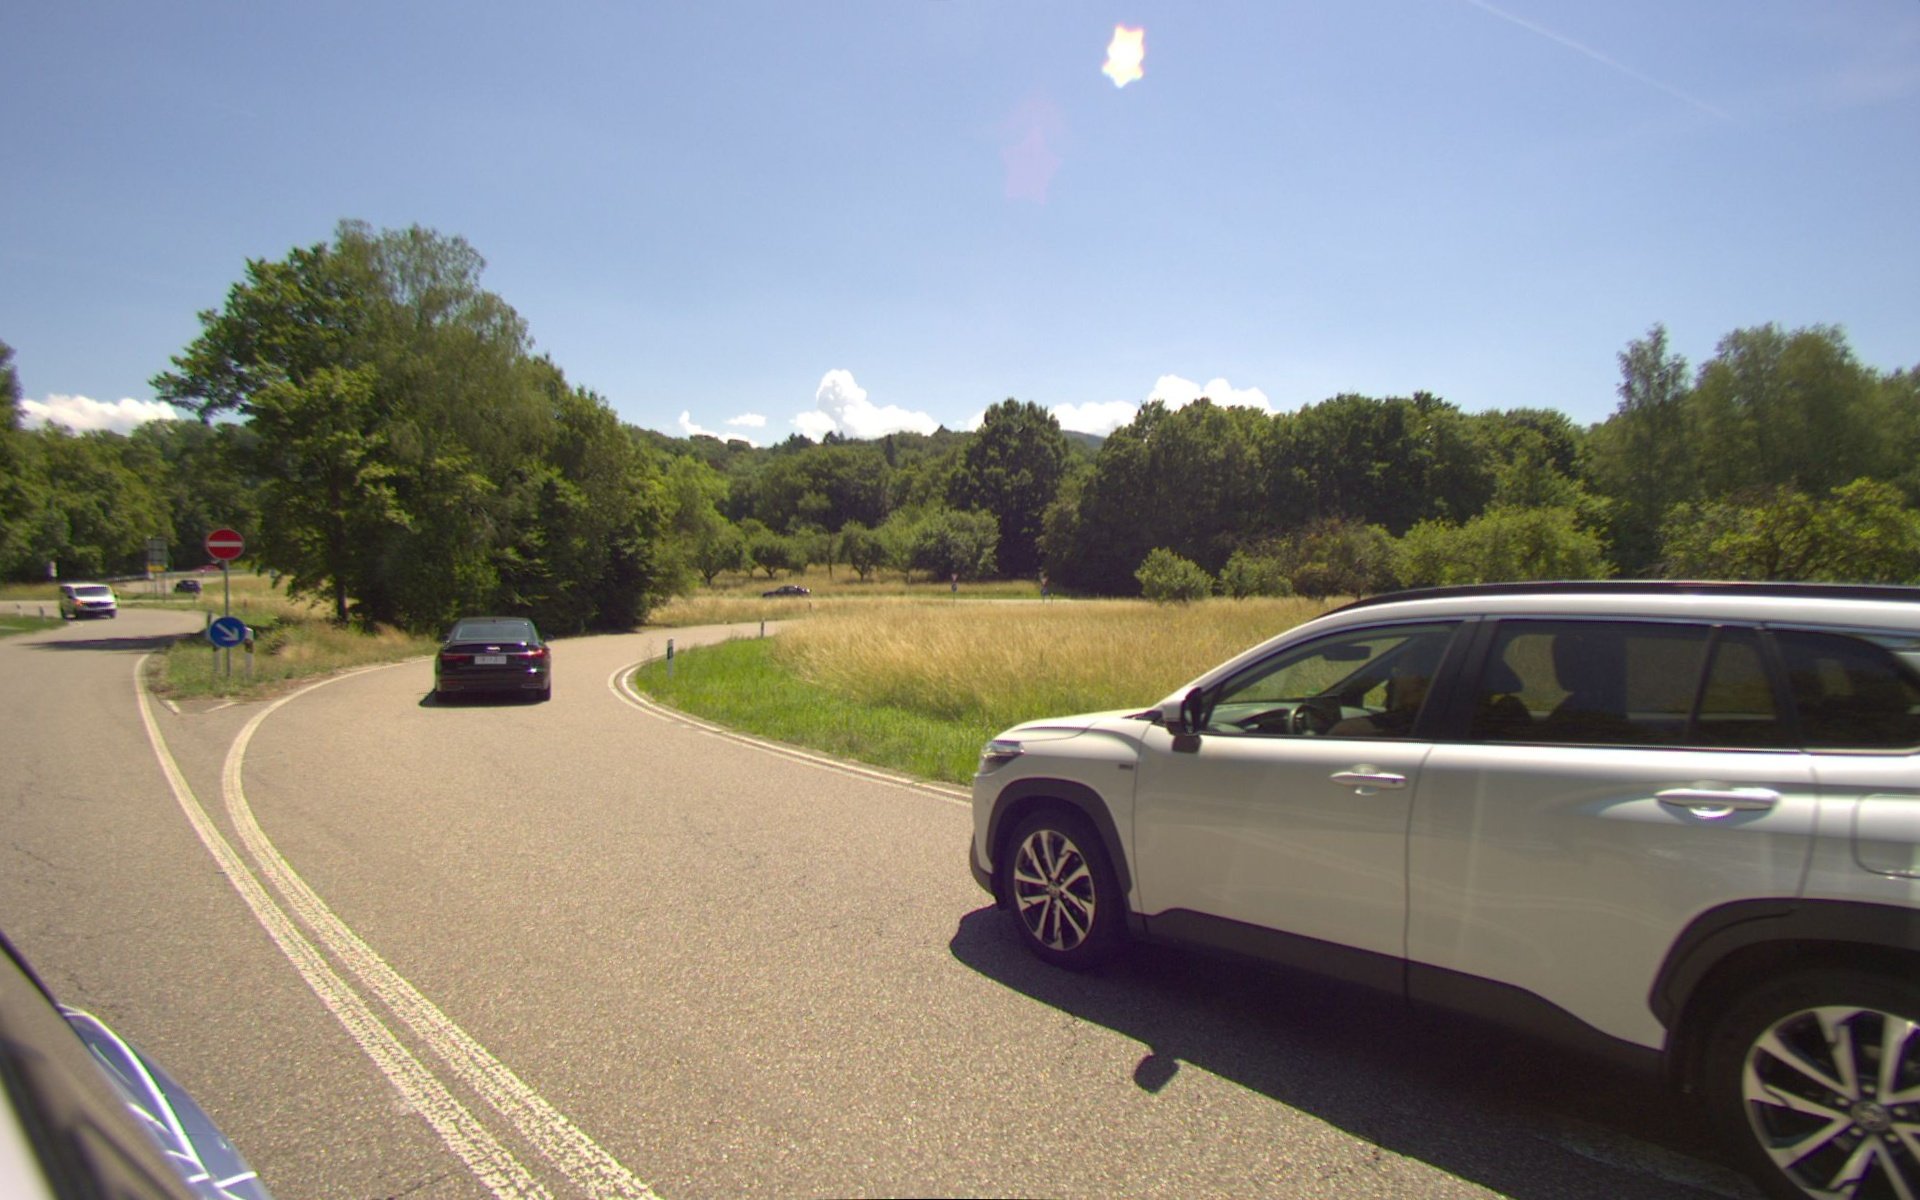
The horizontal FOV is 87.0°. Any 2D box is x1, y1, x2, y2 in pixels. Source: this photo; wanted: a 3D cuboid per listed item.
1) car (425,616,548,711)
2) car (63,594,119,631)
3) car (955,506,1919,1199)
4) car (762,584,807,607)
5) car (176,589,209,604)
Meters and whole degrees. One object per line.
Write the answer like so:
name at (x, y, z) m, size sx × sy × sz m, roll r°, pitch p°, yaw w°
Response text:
car at (-8.696, 1.065, 18.609) m, size 1.777 × 1.518 × 4.673 m, roll 1°, pitch -2°, yaw -25°
car at (-51.373, 0.708, 59.899) m, size 2.190 × 2.048 × 5.438 m, roll -2°, pitch 1°, yaw -38°
car at (2.074, 0.638, 3.643) m, size 1.800 × 1.602 × 4.223 m, roll 4°, pitch -3°, yaw -42°
car at (-16.165, -0.463, 93.414) m, size 3.939 × 2.028 × 2.003 m, roll 0°, pitch 2°, yaw -5°
car at (-75.874, -0.383, 100.038) m, size 2.948 × 1.337 × 1.457 m, roll 2°, pitch 3°, yaw 29°
